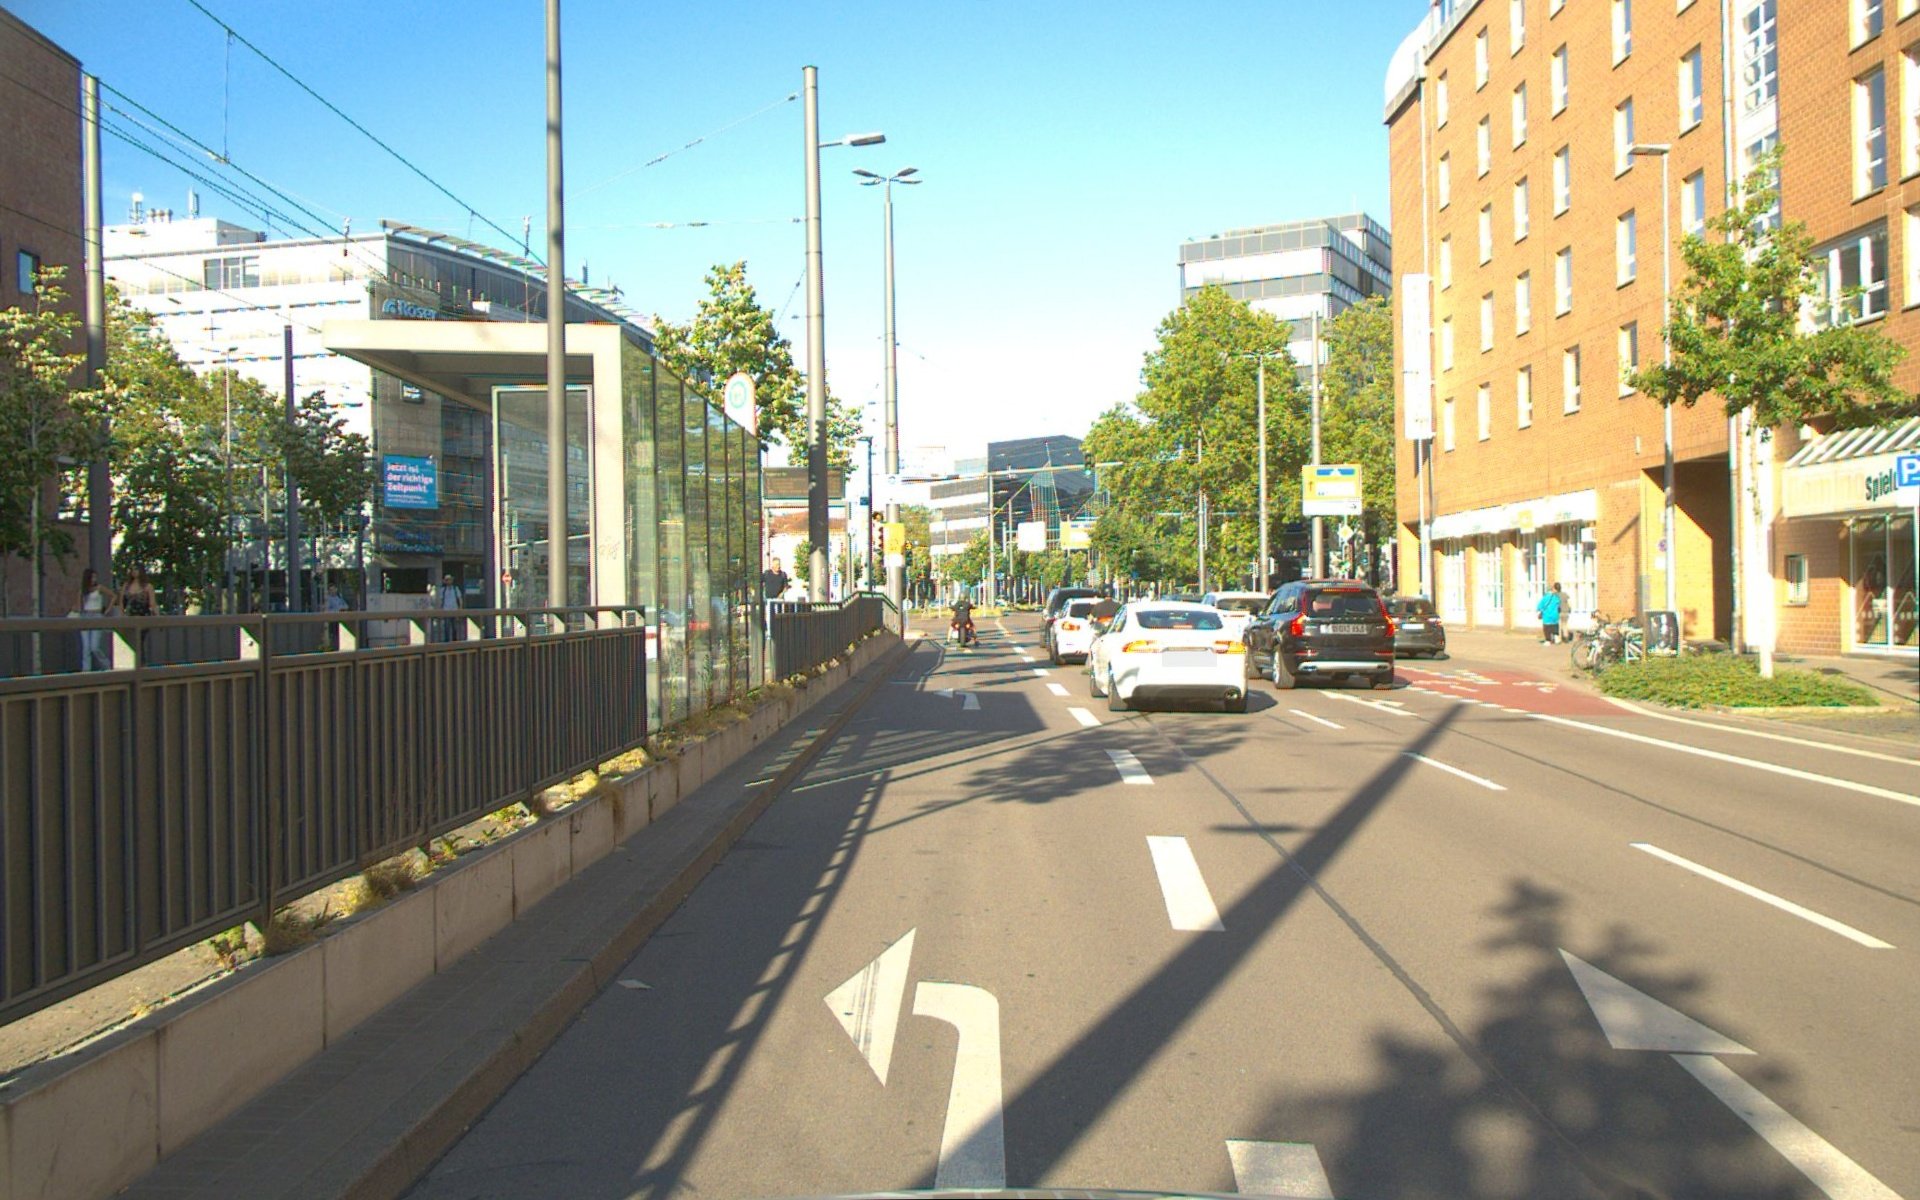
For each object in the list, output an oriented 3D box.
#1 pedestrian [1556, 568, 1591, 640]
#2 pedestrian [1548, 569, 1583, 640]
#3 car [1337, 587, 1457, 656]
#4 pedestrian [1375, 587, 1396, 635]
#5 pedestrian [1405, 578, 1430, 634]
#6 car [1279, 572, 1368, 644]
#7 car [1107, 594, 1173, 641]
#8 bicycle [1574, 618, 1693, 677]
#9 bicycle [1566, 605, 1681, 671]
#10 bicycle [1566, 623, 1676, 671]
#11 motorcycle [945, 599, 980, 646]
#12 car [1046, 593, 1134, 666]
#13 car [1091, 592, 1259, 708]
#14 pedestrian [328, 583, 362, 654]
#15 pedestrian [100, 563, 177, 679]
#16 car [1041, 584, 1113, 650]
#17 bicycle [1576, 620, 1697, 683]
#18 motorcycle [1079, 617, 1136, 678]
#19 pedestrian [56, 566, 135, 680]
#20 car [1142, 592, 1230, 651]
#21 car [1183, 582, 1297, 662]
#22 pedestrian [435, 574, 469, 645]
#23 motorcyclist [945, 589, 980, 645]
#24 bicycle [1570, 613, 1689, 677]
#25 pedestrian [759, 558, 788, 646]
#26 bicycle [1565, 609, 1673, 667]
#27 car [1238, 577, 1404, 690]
[{"bbox_3d":[15.994,0.099,43.117,0.594,1.853,0.748,-1,-1,-1],"label":"pedestrian"},{"bbox_3d":[16.026,0.117,43.791,0.594,1.853,0.748,-1,-1,-1],"label":"pedestrian"},{"bbox_3d":[10.797,0.502,41.192,1.808,1.588,4.633,1,0,1],"label":"car"},{"bbox_3d":[16.636,0.421,64.629,0.594,1.853,0.748,-1,-1,-1],"label":"pedestrian"},{"bbox_3d":[15.442,0.195,55.806,0.594,1.853,0.748,-1,-1,-1],"label":"pedestrian"},{"bbox_3d":[10.723,0.230,48.998,1.822,1.995,4.001,-1,0,2],"label":"car"},{"bbox_3d":[6.125,0.571,56.626,1.813,1.524,4.379,0,0,0],"label":"car"},{"bbox_3d":[12.041,0.858,29.618,1.904,0.986,0.554,-2,-1,18],"label":"bicycle"},{"bbox_3d":[12.362,0.715,30.848,1.903,1.157,0.491,-2,-1,11],"label":"bicycle"},{"bbox_3d":[12.701,0.904,31.808,1.907,0.850,0.554,-2,-1,27],"label":"bicycle"},{"bbox_3d":[0.094,0.645,48.760,0.998,1.335,2.915,1,0,1],"label":"motorcycle"},{"bbox_3d":[2.870,0.617,37.134,1.658,1.523,4.409,1,0,1],"label":"car"},{"bbox_3d":[2.909,0.628,23.359,1.744,1.439,4.818,1,0,0],"label":"car"},{"bbox_3d":[-14.317,0.421,38.494,0.552,1.637,0.616,0,0,0],"label":"pedestrian"},{"bbox_3d":[-12.139,0.301,24.461,0.627,1.672,0.945,1,0,1],"label":"pedestrian"},{"bbox_3d":[3.203,0.443,45.918,1.761,1.735,4.063,0,0,1],"label":"car"},{"bbox_3d":[11.882,0.906,29.102,1.904,1.040,0.502,-2,-1,18],"label":"bicycle"},{"bbox_3d":[2.813,0.888,31.863,0.820,1.081,2.552,-1,0,-1],"label":"motorcycle"},{"bbox_3d":[-12.768,0.331,24.446,0.627,1.636,0.945,1,0,1],"label":"pedestrian"},{"bbox_3d":[6.126,0.553,45.295,1.813,1.524,4.379,0,0,0],"label":"car"},{"bbox_3d":[6.144,0.443,36.736,1.813,1.668,4.379,0,0,0],"label":"car"},{"bbox_3d":[-13.378,0.256,43.561,0.601,1.849,0.897,0,0,1],"label":"pedestrian"},{"bbox_3d":[0.091,0.498,48.830,0.998,1.631,1.148,1,0,0],"label":"motorcyclist"},{"bbox_3d":[12.259,0.822,30.326,1.903,1.094,0.555,-2,-1,11],"label":"bicycle"},{"bbox_3d":[-3.637,0.037,32.288,0.509,1.698,0.550,0,0,0],"label":"pedestrian"},{"bbox_3d":[13.216,0.755,33.228,1.903,1.093,0.626,-2,-1,12],"label":"bicycle"},{"bbox_3d":[6.188,0.540,28.887,1.934,1.790,4.633,1,0,1],"label":"car"}]
